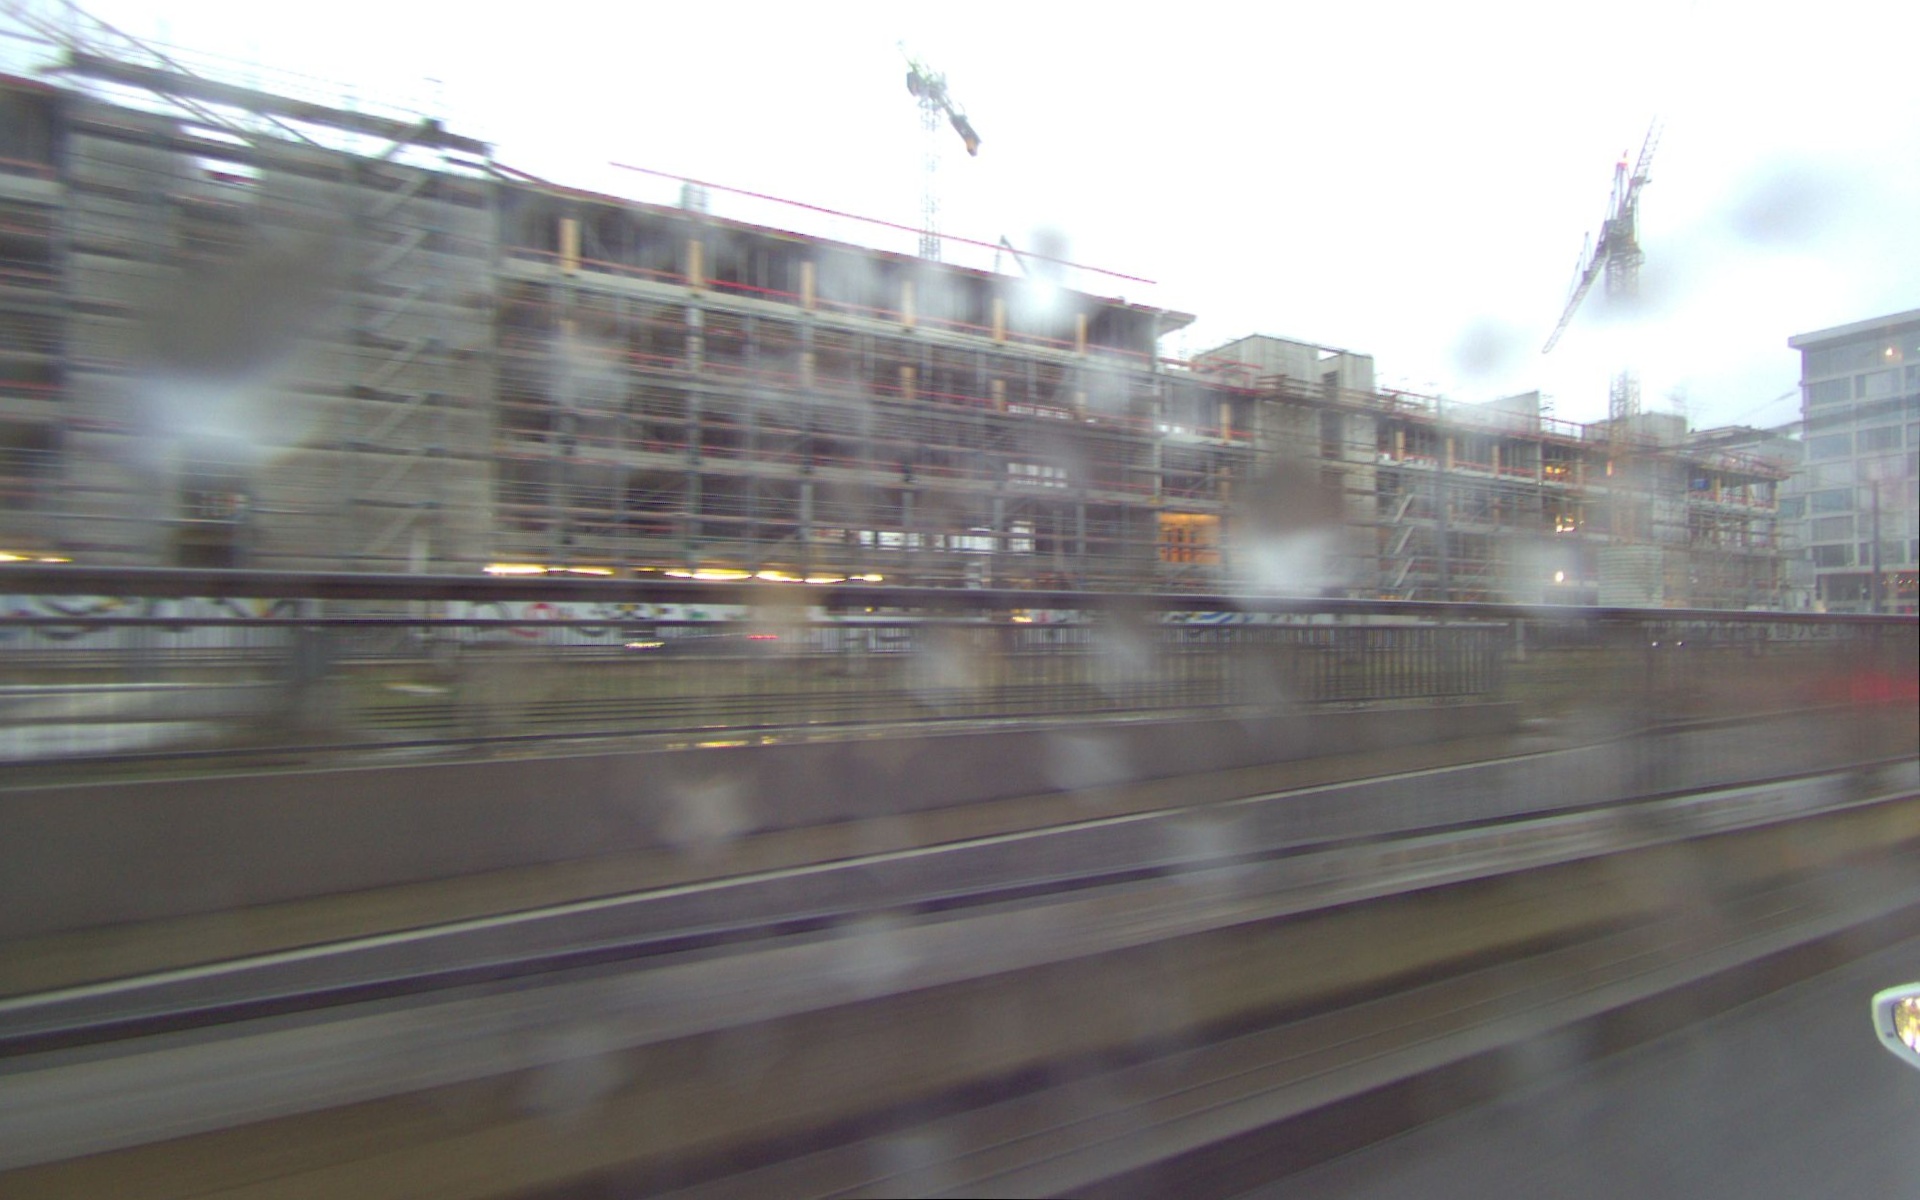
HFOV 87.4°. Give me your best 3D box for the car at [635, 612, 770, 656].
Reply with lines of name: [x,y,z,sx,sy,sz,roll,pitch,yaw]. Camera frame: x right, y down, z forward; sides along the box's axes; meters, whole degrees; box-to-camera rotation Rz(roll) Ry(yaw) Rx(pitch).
car: [-8.849,1.126,34.599,4.286,1.433,1.675,0,-1,-29]
